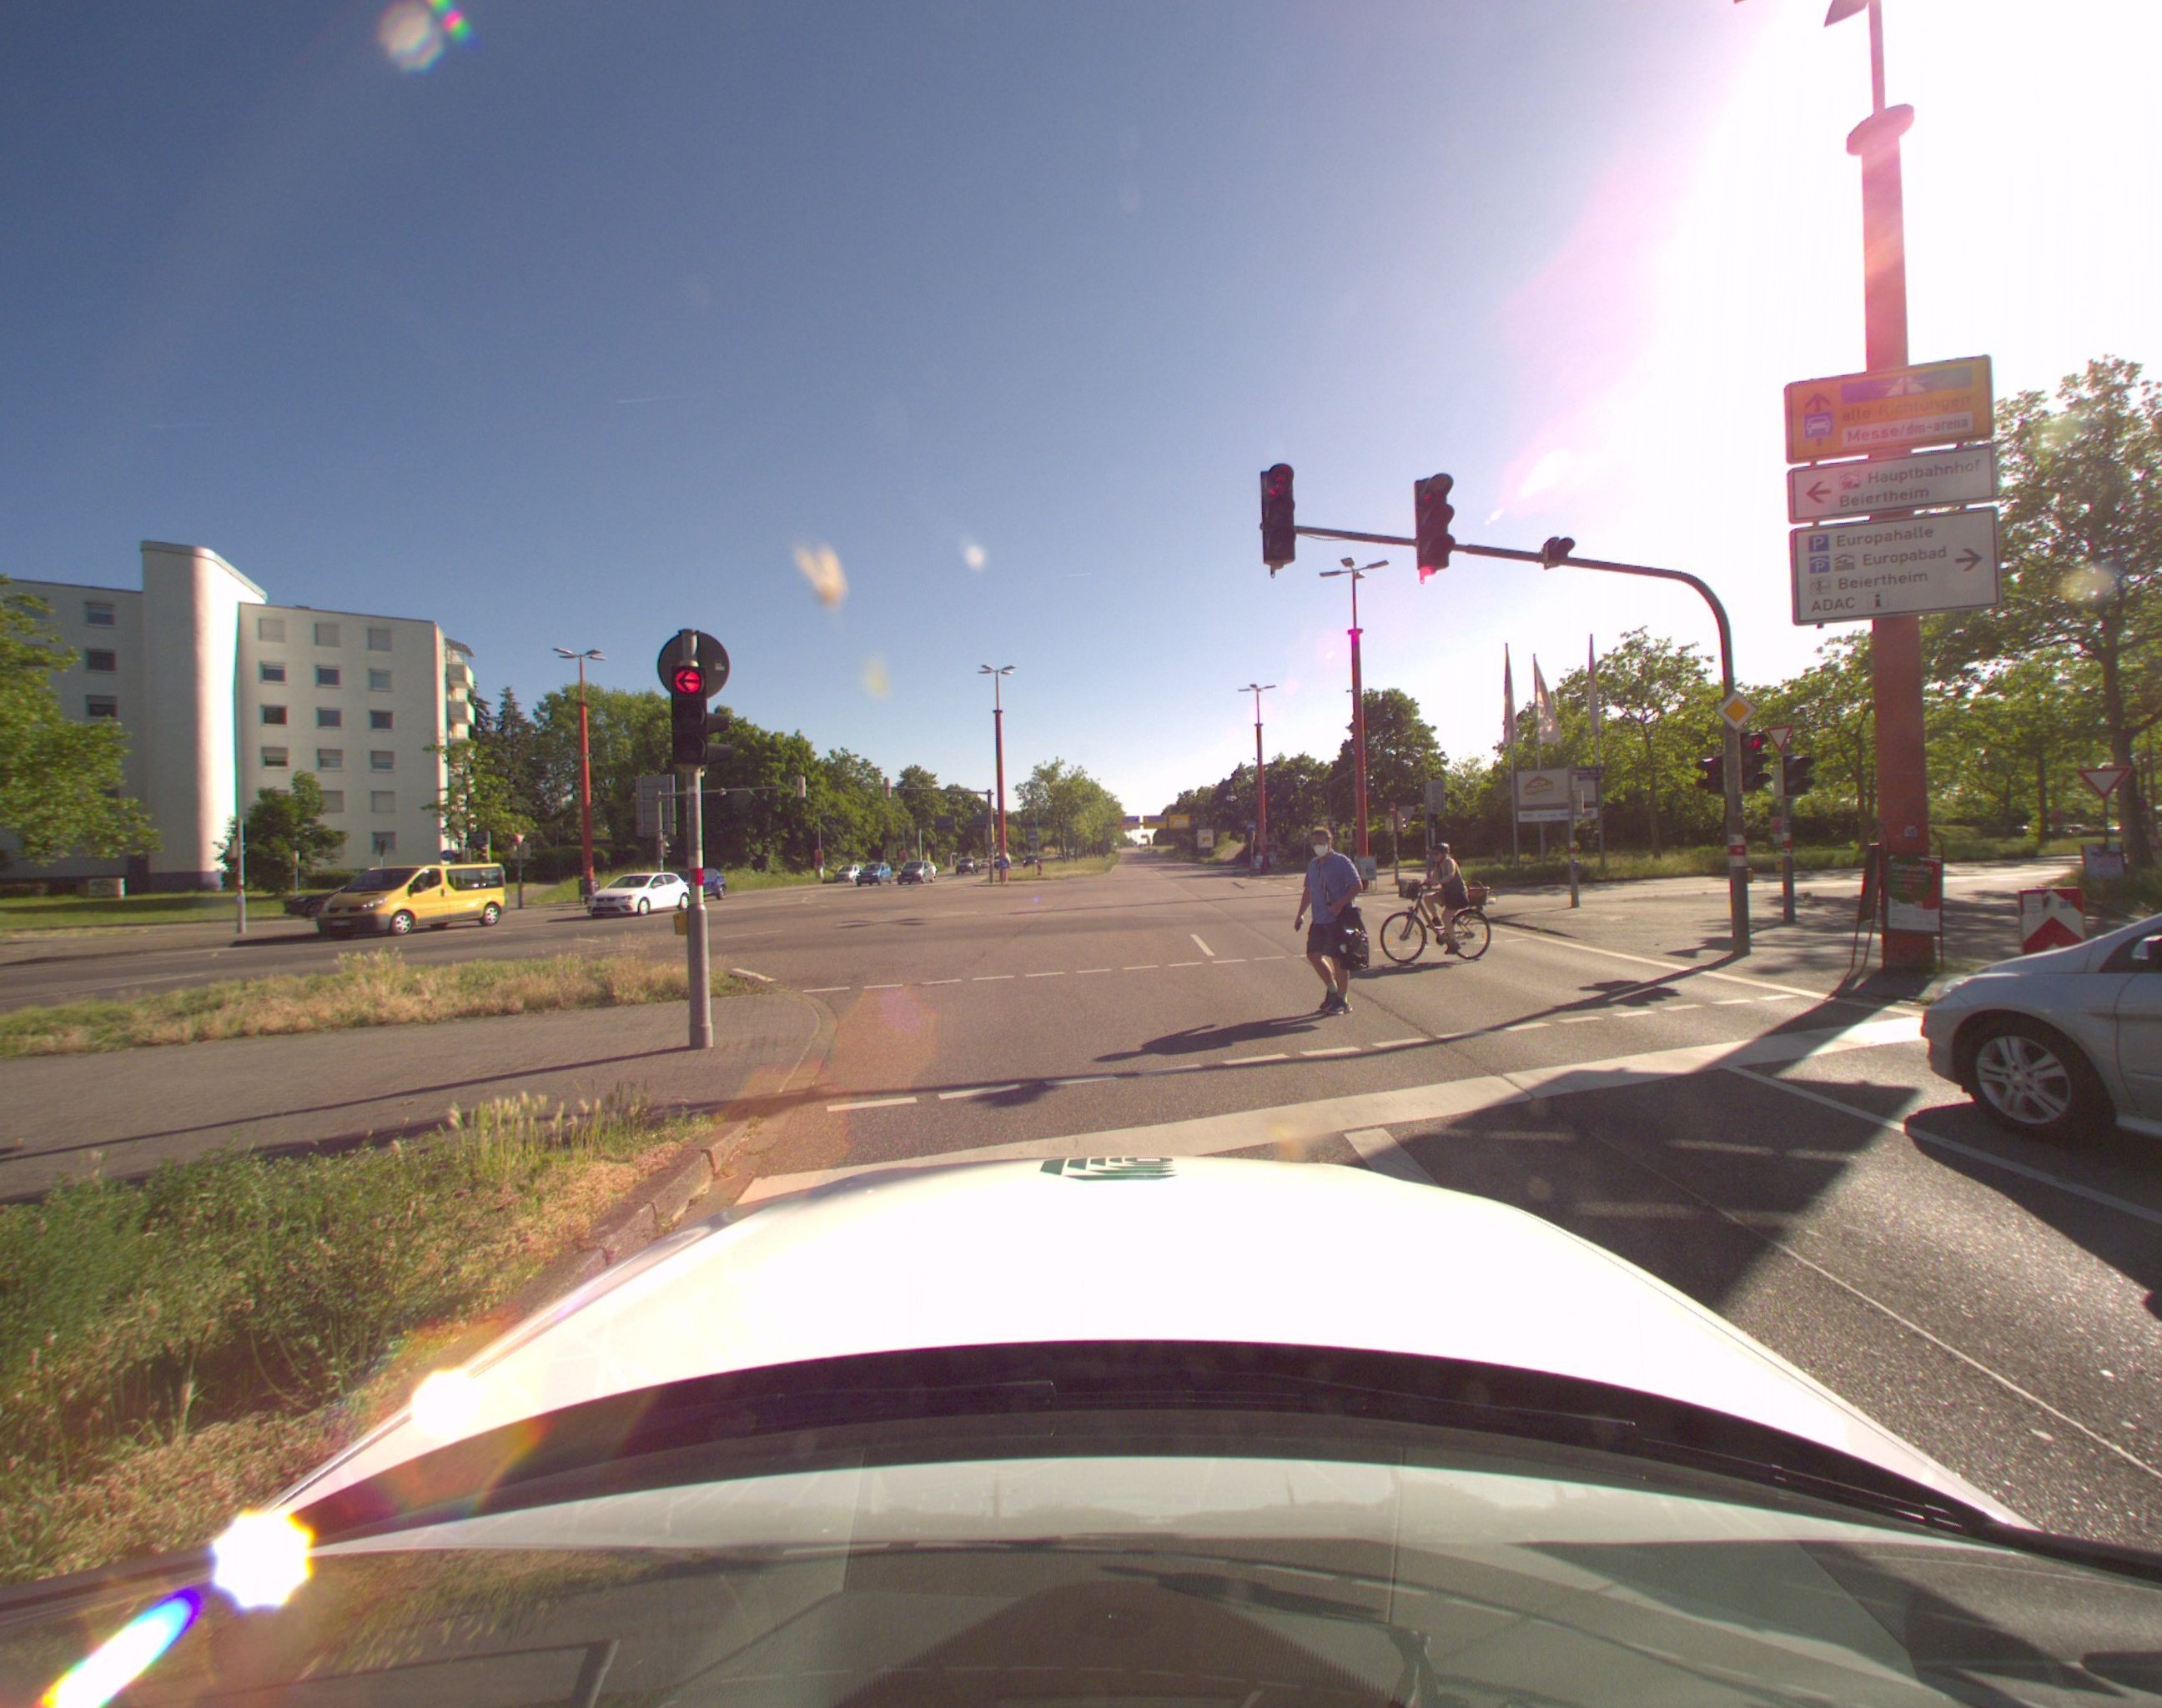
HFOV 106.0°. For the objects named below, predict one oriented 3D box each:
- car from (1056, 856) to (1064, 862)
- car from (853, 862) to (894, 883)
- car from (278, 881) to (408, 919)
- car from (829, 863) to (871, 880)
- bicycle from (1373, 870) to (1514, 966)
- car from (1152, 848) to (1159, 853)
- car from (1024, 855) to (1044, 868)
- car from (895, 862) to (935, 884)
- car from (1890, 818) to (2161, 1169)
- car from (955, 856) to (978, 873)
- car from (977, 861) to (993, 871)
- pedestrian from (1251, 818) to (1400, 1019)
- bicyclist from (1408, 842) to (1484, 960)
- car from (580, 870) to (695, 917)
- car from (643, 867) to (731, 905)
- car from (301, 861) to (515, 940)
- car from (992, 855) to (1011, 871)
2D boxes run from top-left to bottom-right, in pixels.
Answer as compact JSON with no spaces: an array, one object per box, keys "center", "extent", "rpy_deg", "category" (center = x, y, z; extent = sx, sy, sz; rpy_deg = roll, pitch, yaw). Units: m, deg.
[{"center":[-4.989,1.205,197.518],"extent":[1.791,1.640,4.000],"rpy_deg":[-1,0,1],"category":"car"},{"center":[-13.869,1.209,54.528],"extent":[1.733,1.243,3.613],"rpy_deg":[-2,0,1],"category":"car"},{"center":[-32.545,1.996,35.985],"extent":[1.777,1.409,4.025],"rpy_deg":[-2,0,40],"category":"car"},{"center":[-20.139,1.522,71.204],"extent":[1.738,1.398,4.016],"rpy_deg":[-2,0,15],"category":"car"},{"center":[5.111,0.853,11.461],"extent":[1.952,1.195,0.686],"rpy_deg":[-2,0,-26],"category":"bicycle"},{"center":[21.885,-1.065,238.840],"extent":[1.787,1.409,4.001],"rpy_deg":[0,-1,2],"category":"car"},{"center":[-5.371,0.851,93.424],"extent":[1.812,1.508,4.002],"rpy_deg":[-2,0,2],"category":"car"},{"center":[-10.605,1.188,52.309],"extent":[1.733,1.243,3.613],"rpy_deg":[-2,0,1],"category":"car"},{"center":[5.668,0.603,2.864],"extent":[1.732,1.578,4.032],"rpy_deg":[-2,0,3],"category":"car"},{"center":[-11.935,1.085,84.887],"extent":[1.733,1.612,3.613],"rpy_deg":[-2,0,1],"category":"car"},{"center":[-13.872,1.716,117.931],"extent":[1.733,1.243,3.613],"rpy_deg":[-2,0,1],"category":"car"},{"center":[2.361,0.577,7.947],"extent":[0.988,1.794,0.948],"rpy_deg":[-1,0,-20],"category":"pedestrian"},{"center":[5.139,0.645,11.480],"extent":[0.664,1.584,0.667],"rpy_deg":[-2,0,-26],"category":"bicyclist"},{"center":[-15.418,1.333,28.575],"extent":[1.682,1.407,4.023],"rpy_deg":[-2,0,2],"category":"car"},{"center":[-18.360,1.442,38.185],"extent":[1.986,1.574,4.108],"rpy_deg":[-2,0,2],"category":"car"},{"center":[-19.338,1.249,23.774],"extent":[1.986,1.966,4.910],"rpy_deg":[-2,0,2],"category":"car"},{"center":[-10.390,1.179,106.481],"extent":[1.886,2.026,5.224],"rpy_deg":[-2,0,1],"category":"car"}]
